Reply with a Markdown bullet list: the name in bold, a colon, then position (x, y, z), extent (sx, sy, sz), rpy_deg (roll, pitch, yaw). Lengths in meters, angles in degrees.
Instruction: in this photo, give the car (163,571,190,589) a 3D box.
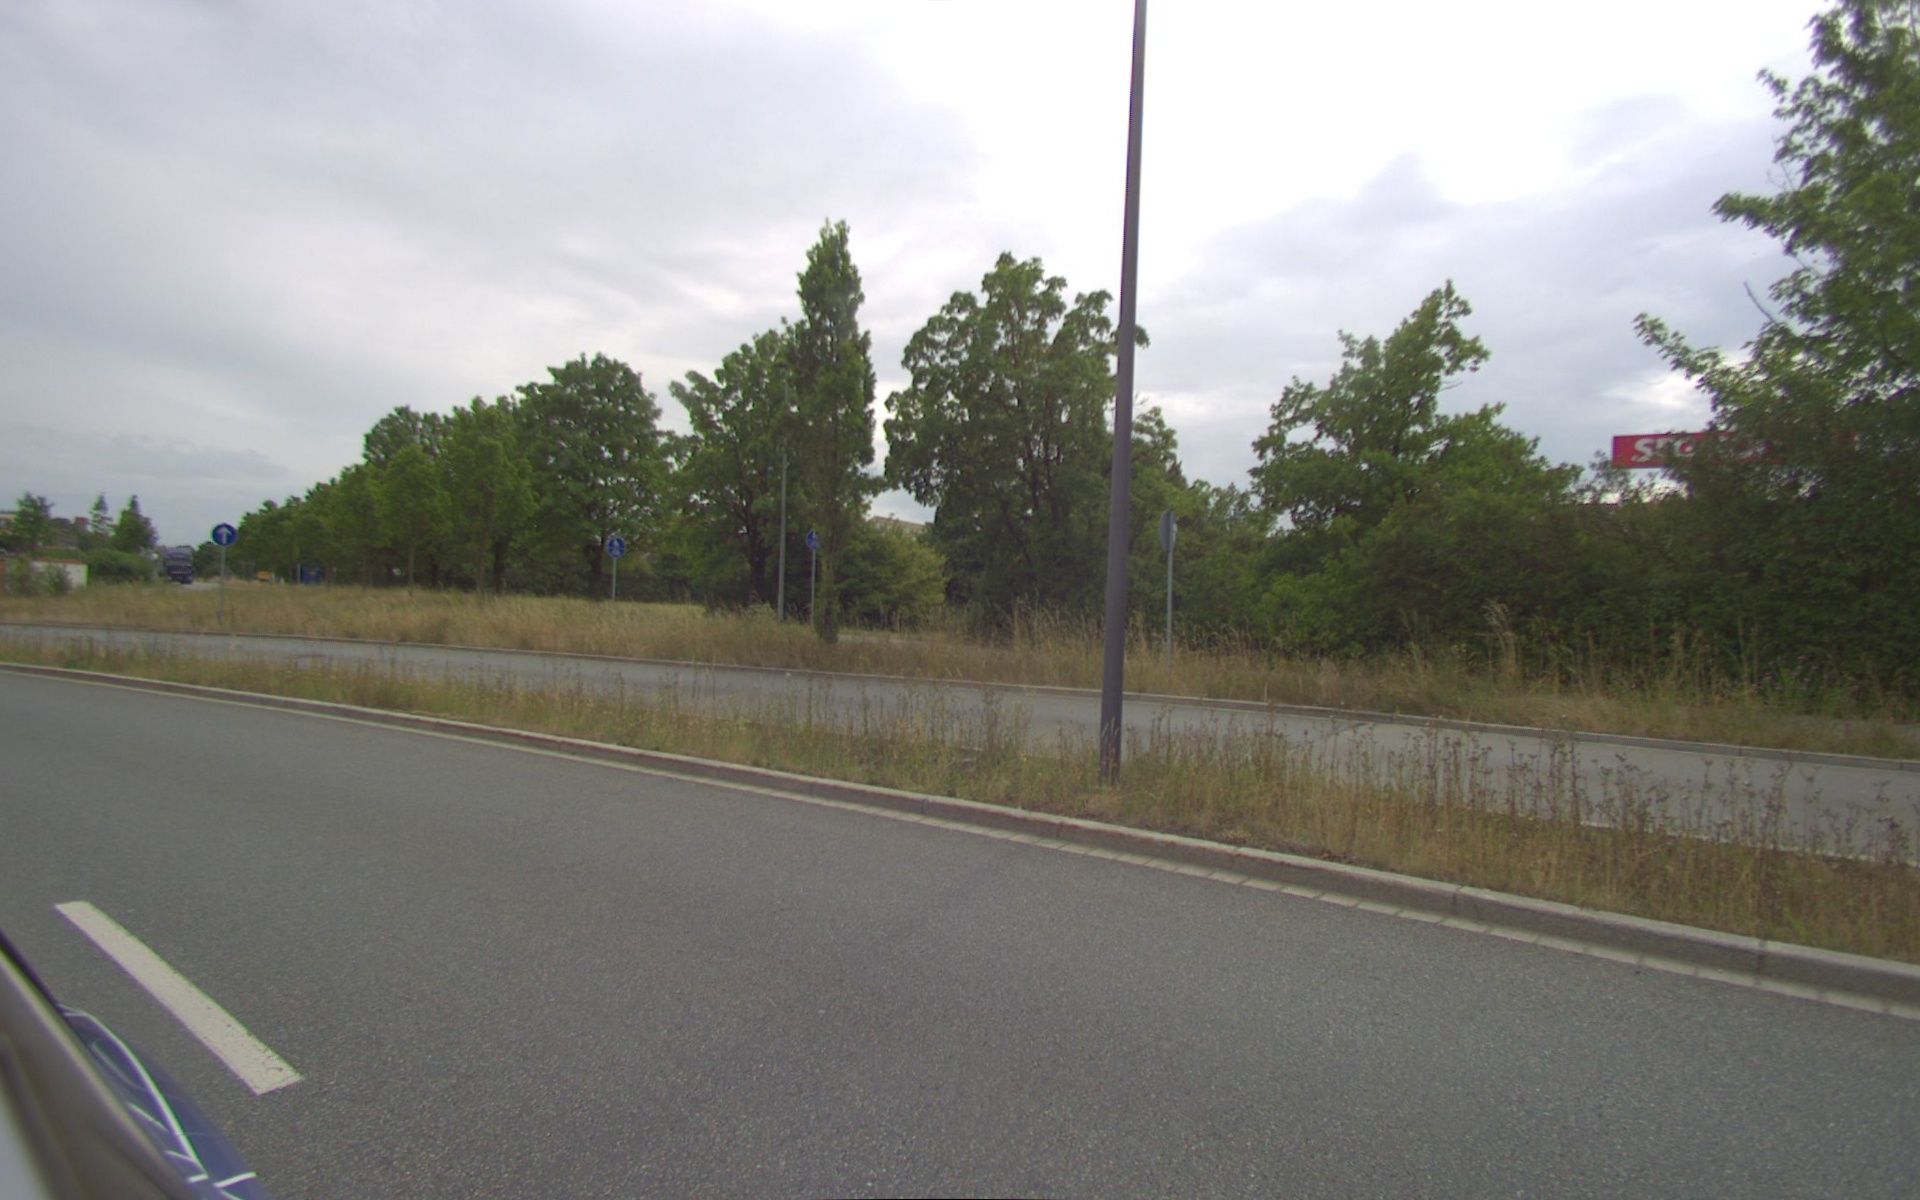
- **car**: position (-87.782, -2.261, 113.371), extent (1.970, 1.763, 4.004), rpy_deg (4, -3, -43)
